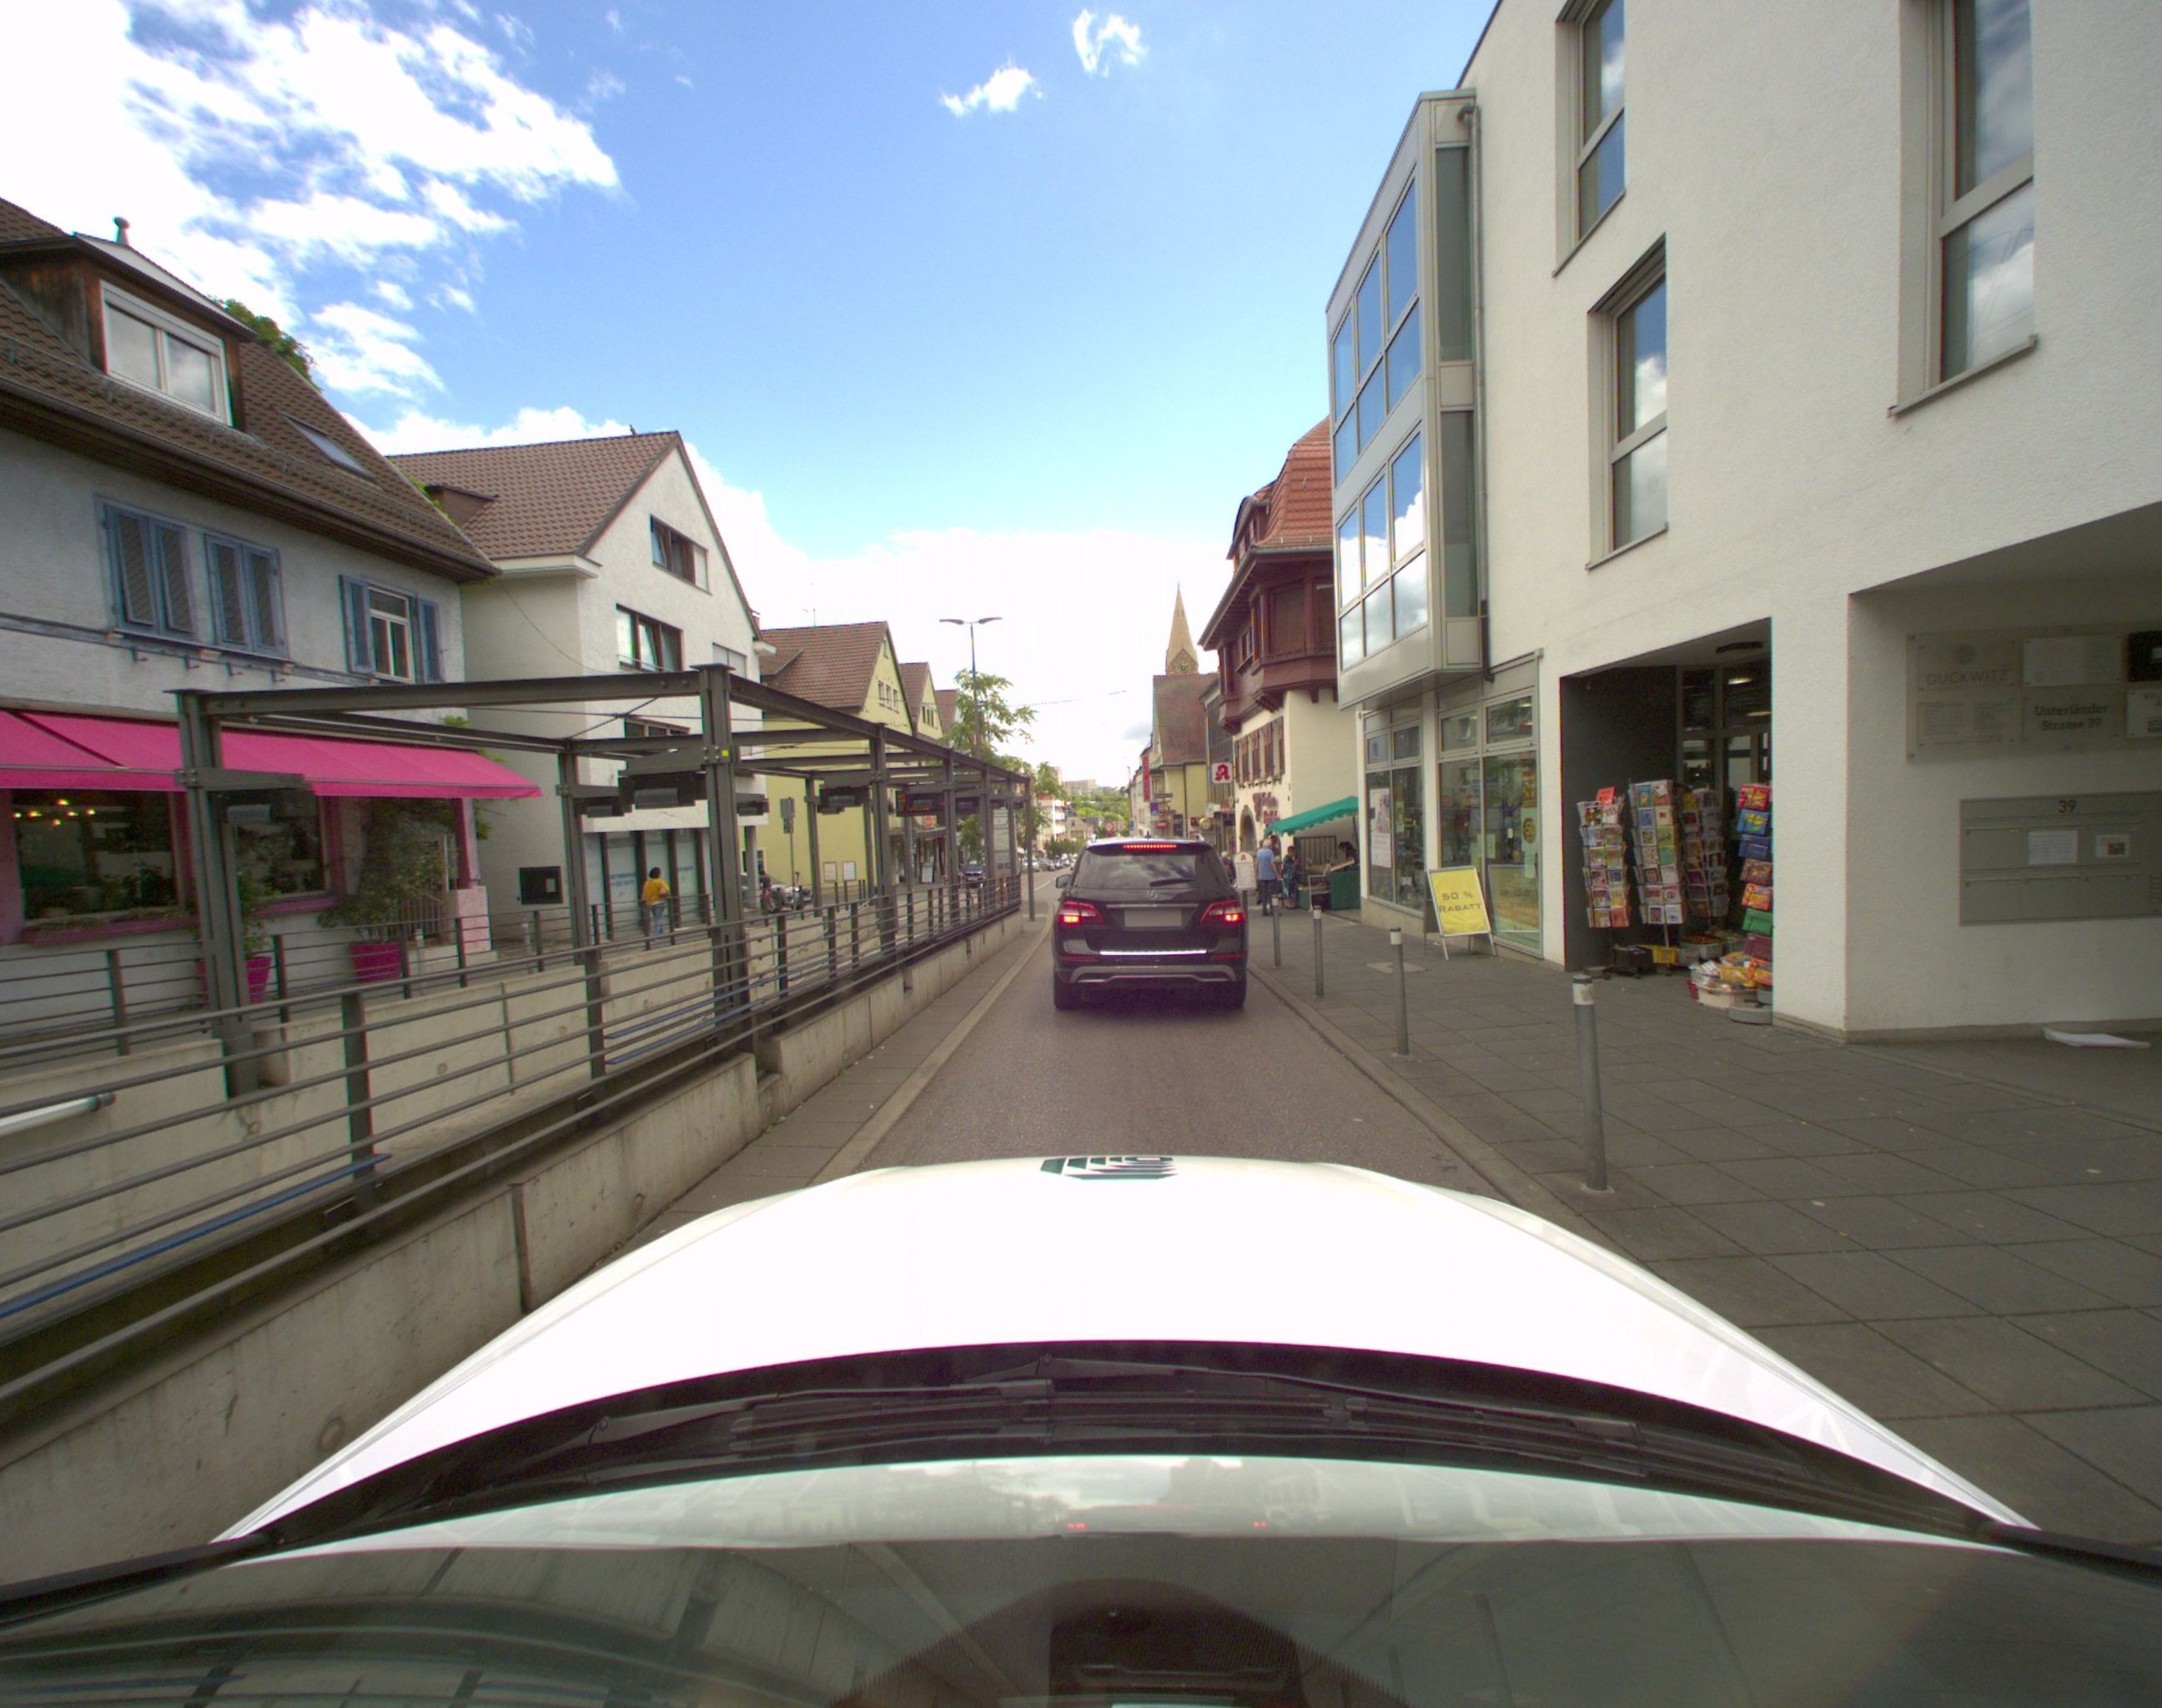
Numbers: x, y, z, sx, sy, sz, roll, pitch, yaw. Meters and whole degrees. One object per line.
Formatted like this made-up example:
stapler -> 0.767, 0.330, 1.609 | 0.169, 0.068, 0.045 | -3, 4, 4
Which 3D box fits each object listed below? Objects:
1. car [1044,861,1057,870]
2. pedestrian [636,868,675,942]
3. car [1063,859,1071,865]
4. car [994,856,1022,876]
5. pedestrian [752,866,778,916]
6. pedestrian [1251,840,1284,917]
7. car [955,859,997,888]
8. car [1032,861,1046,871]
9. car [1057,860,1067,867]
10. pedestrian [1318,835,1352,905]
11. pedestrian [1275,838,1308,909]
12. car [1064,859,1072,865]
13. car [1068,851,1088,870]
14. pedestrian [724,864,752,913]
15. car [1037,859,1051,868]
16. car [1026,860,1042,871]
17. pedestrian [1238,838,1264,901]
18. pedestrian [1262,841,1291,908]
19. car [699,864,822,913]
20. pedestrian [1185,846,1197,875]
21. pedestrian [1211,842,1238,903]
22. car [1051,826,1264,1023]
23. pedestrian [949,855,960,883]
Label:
car -> -4.120, 1.591, 110.716 | 1.383, 1.070, 3.115 | -3, 0, 2
pedestrian -> -9.917, 1.175, 18.985 | 0.576, 1.689, 0.577 | 0, 0, 1
car -> -2.704, 1.645, 159.222 | 1.383, 1.070, 3.115 | -3, 0, 2
car -> -5.606, 0.917, 62.877 | 1.654, 1.490, 3.750 | 0, 0, 2
pedestrian -> -11.058, 1.284, 28.522 | 0.623, 1.689, 0.679 | 0, 0, 1
pedestrian -> 4.313, 0.564, 18.871 | 0.541, 1.726, 0.527 | -3, 0, -5
car -> -5.875, 1.071, 45.820 | 1.683, 1.490, 3.981 | 0, 0, 2
car -> -4.998, 1.431, 96.910 | 1.383, 1.070, 3.115 | -3, 0, 2
car -> -3.063, 1.490, 131.933 | 1.383, 1.070, 3.115 | -3, 0, 2
pedestrian -> 6.278, 0.391, 20.146 | 0.572, 1.689, 0.565 | -3, 0, -5
pedestrian -> 5.182, 0.476, 20.033 | 0.572, 1.689, 0.565 | -3, 0, -5
car -> -2.523, 1.636, 164.510 | 1.383, 1.070, 3.115 | -3, 0, 2
car -> -0.278, 0.614, 78.259 | 1.764, 1.713, 4.001 | 0, 0, 2
pedestrian -> -11.965, 1.184, 28.450 | 0.650, 1.689, 0.730 | 0, 0, -1
car -> -4.646, 1.204, 102.729 | 1.383, 1.070, 3.115 | -3, 0, 2
car -> -4.922, 1.174, 85.527 | 1.383, 1.070, 3.115 | -3, 0, 2
pedestrian -> 4.991, 0.444, 23.903 | 0.637, 1.809, 0.685 | 0, 0, 1
pedestrian -> 5.043, 0.520, 21.005 | 0.572, 1.689, 0.565 | 0, 0, -5
car -> -12.520, 1.310, 31.855 | 4.149, 1.731, 1.842 | 1, 0, 15
pedestrian -> 6.542, 0.389, 48.480 | 0.604, 1.688, 0.725 | -3, 0, 1
pedestrian -> 4.034, 0.525, 22.965 | 0.620, 1.689, 0.565 | 0, 0, -5
car -> 0.700, 0.630, 9.303 | 1.894, 1.747, 4.000 | 0, 0, 0
pedestrian -> -7.638, 0.891, 49.214 | 0.511, 1.689, 0.542 | 0, 0, 1
